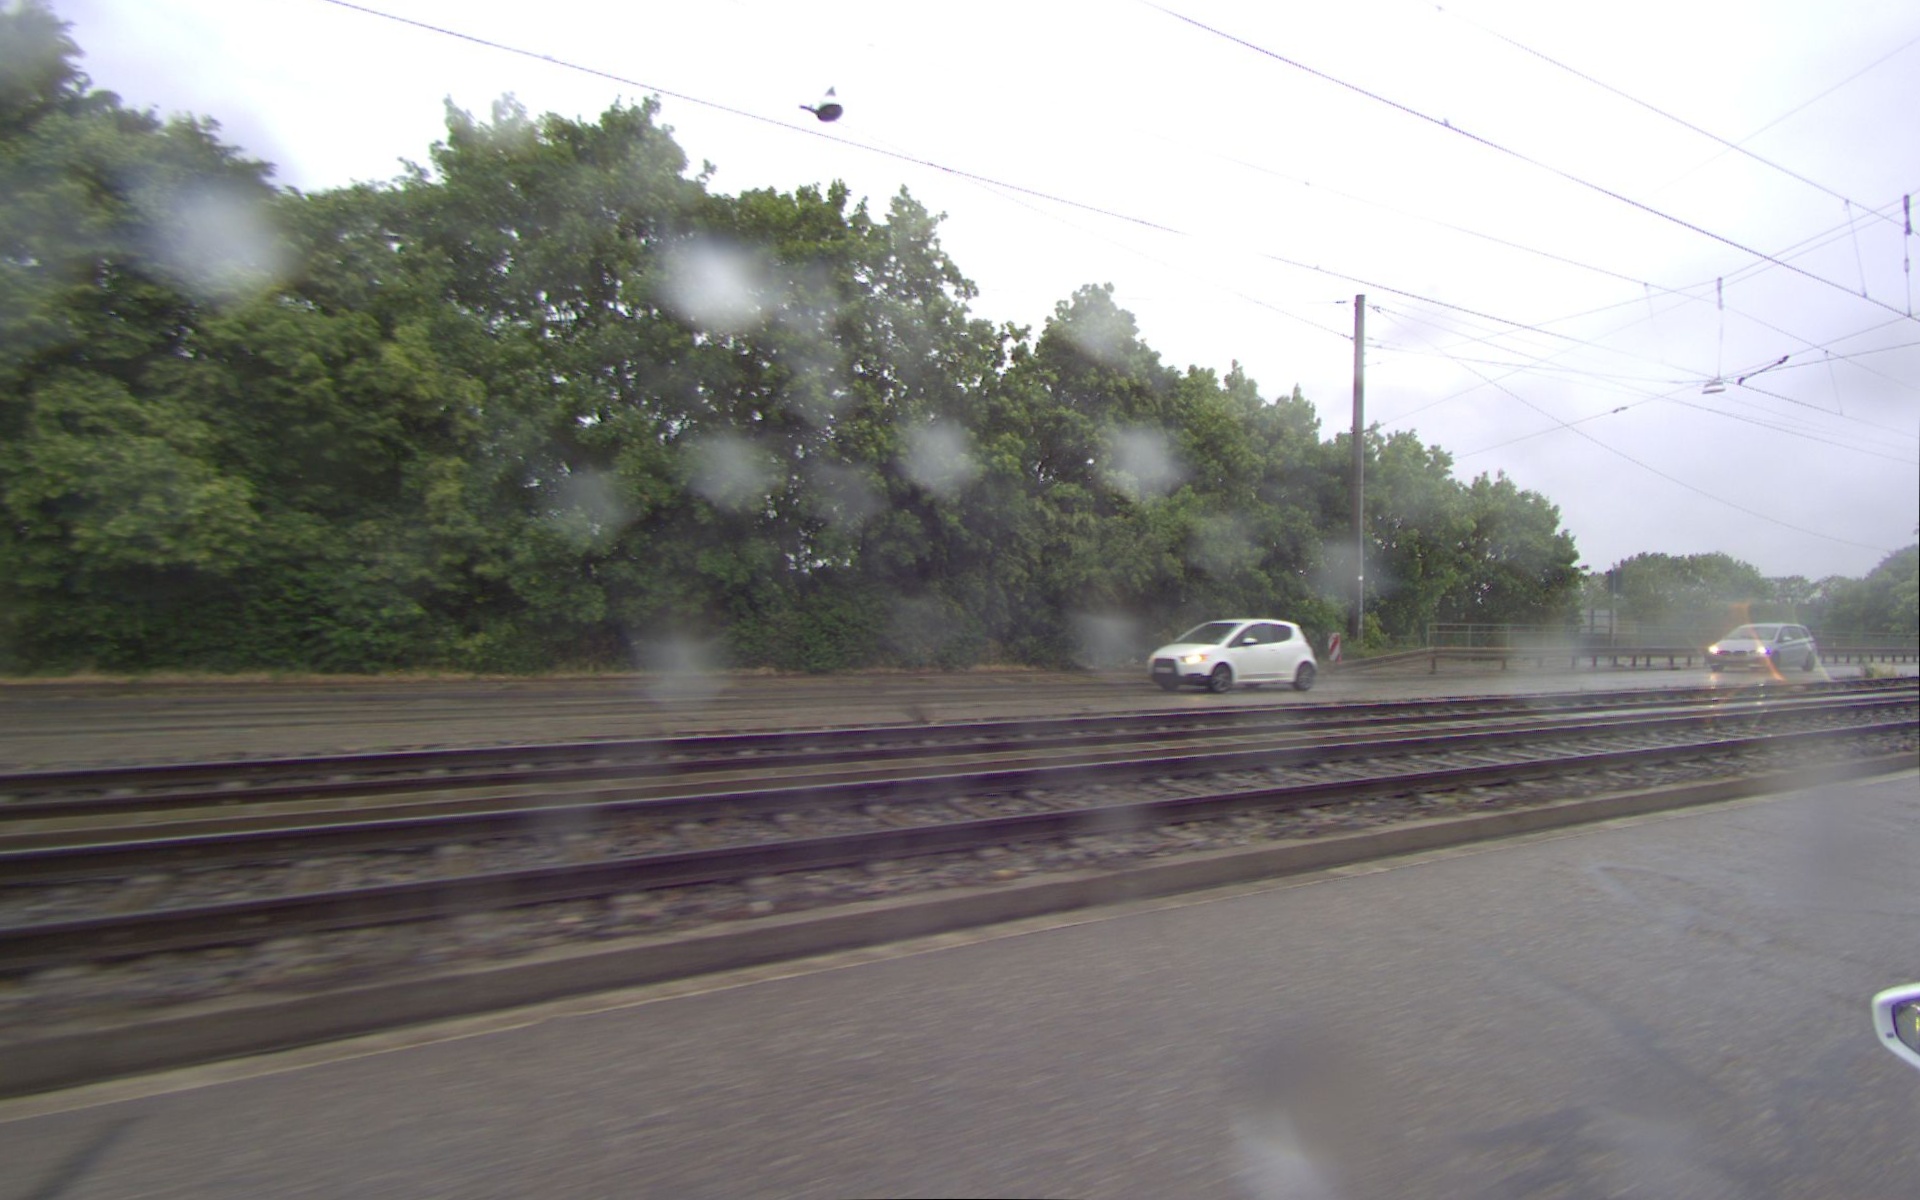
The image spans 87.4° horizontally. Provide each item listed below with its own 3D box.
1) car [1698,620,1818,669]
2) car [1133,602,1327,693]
[{"bbox_3d":[27.169,1.481,34.197,4.144,1.472,1.789,0,1,-30],"label":"car"},{"bbox_3d":[5.770,0.933,21.380,3.954,1.734,1.745,0,1,-31],"label":"car"}]
